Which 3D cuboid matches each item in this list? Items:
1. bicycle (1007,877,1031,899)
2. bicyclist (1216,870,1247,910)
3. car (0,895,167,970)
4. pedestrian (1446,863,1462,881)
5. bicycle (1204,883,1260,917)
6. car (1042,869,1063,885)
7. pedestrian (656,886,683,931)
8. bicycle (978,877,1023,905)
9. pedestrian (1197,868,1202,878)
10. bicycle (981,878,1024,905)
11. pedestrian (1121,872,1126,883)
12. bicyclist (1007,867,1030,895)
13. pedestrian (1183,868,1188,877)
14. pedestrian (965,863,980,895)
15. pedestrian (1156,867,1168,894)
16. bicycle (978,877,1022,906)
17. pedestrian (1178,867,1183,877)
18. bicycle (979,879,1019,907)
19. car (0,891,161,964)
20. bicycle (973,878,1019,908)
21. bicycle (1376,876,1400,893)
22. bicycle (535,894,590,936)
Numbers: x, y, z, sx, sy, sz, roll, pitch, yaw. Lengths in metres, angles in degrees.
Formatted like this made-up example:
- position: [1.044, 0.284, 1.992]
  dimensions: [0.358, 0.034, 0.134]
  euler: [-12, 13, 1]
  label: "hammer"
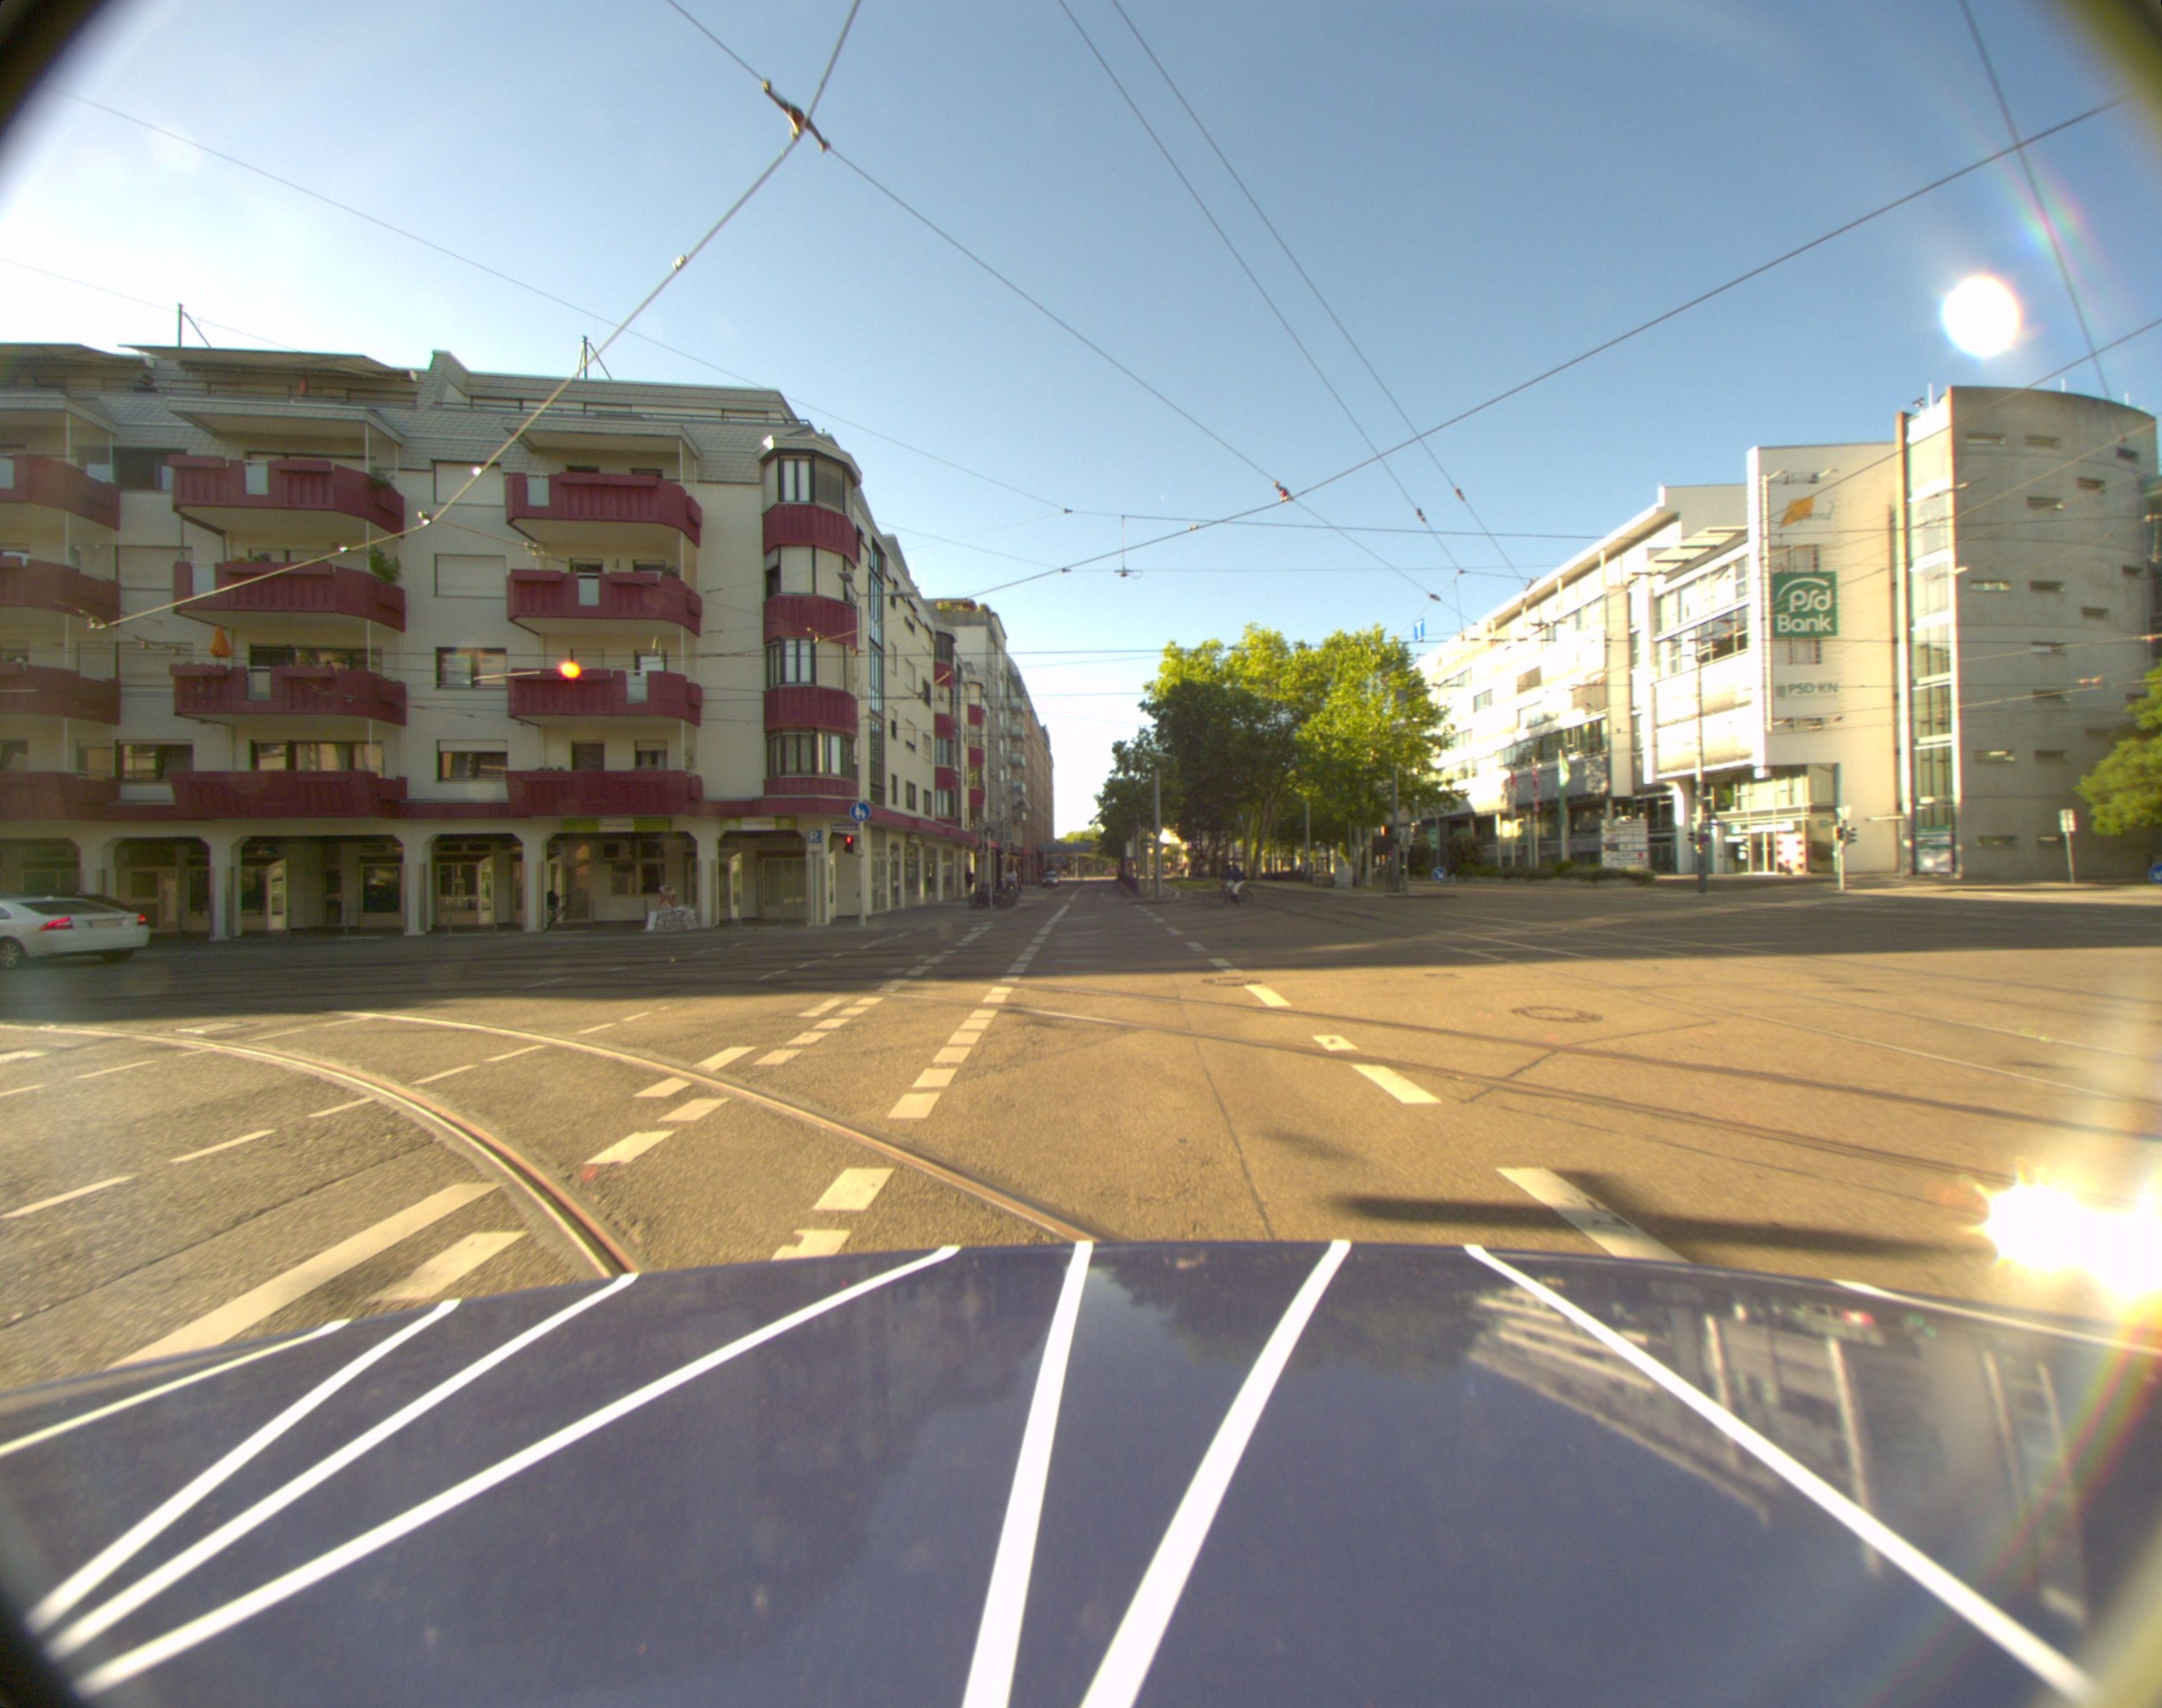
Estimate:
- position: [-3.527, 1.913, 42.972]
  dimensions: [0.964, 1.176, 2.596]
  euler: [-1, -2, -13]
  label: "bicycle"
- position: [5.789, 1.369, 29.295]
  dimensions: [0.882, 1.485, 0.722]
  euler: [-2, -1, -15]
  label: "bicyclist"
- position: [-23.114, 1.712, 16.467]
  dimensions: [4.893, 1.446, 1.857]
  euler: [-2, -2, 7]
  label: "car"
- position: [32.308, 1.556, 65.835]
  dimensions: [0.908, 1.582, 0.768]
  euler: [-2, -1, 1]
  label: "pedestrian"
- position: [5.820, 1.762, 29.292]
  dimensions: [2.044, 1.182, 0.590]
  euler: [-2, -1, -15]
  label: "bicycle"
- position: [-2.965, 2.409, 79.721]
  dimensions: [1.837, 1.613, 4.286]
  euler: [1, -1, 3]
  label: "car"
- position: [-12.627, 1.654, 23.336]
  dimensions: [0.664, 1.342, 0.656]
  euler: [-1, -2, -26]
  label: "pedestrian"
- position: [-3.641, 1.675, 34.555]
  dimensions: [1.982, 1.192, 0.591]
  euler: [-2, -1, -3]
  label: "bicycle"
- position: [19.102, 3.069, 122.359]
  dimensions: [0.554, 1.488, 0.551]
  euler: [-2, -1, -10]
  label: "pedestrian"
- position: [-3.628, 1.733, 35.180]
  dimensions: [1.945, 1.163, 0.572]
  euler: [-2, -1, -1]
  label: "bicycle"
- position: [6.558, 3.638, 117.504]
  dimensions: [0.742, 1.680, 0.645]
  euler: [-4, -1, 1]
  label: "pedestrian"
- position: [-3.540, 1.519, 43.000]
  dimensions: [1.060, 1.530, 1.078]
  euler: [-1, -1, -13]
  label: "bicyclist"
- position: [19.046, 3.369, 138.215]
  dimensions: [0.656, 1.743, 0.676]
  euler: [-2, -1, -6]
  label: "pedestrian"
- position: [-6.451, 1.492, 45.044]
  dimensions: [0.724, 1.846, 0.801]
  euler: [-2, -1, 1]
  label: "pedestrian"
- position: [5.297, 1.738, 49.739]
  dimensions: [0.735, 1.736, 0.712]
  euler: [-2, -2, 7]
  label: "pedestrian"
- position: [-3.596, 1.664, 33.677]
  dimensions: [1.835, 1.213, 0.496]
  euler: [-2, -1, 5]
  label: "bicycle"
- position: [18.155, 3.251, 138.306]
  dimensions: [0.686, 1.685, 0.699]
  euler: [-2, -1, -6]
  label: "pedestrian"
- position: [-3.563, 1.700, 33.100]
  dimensions: [1.626, 1.192, 0.496]
  euler: [-2, -1, 6]
  label: "bicycle"
- position: [-26.851, 1.910, 19.641]
  dimensions: [3.905, 1.673, 1.738]
  euler: [-3, -1, -1]
  label: "car"
- position: [-3.620, 1.663, 32.340]
  dimensions: [1.805, 1.192, 0.546]
  euler: [-2, 0, 6]
  label: "bicycle"
- position: [17.515, 1.712, 43.356]
  dimensions: [0.814, 0.940, 1.727]
  euler: [-2, -2, 8]
  label: "bicycle"
- position: [-15.761, 1.842, 23.075]
  dimensions: [1.793, 1.192, 0.617]
  euler: [-2, -1, 29]
  label: "bicycle"
